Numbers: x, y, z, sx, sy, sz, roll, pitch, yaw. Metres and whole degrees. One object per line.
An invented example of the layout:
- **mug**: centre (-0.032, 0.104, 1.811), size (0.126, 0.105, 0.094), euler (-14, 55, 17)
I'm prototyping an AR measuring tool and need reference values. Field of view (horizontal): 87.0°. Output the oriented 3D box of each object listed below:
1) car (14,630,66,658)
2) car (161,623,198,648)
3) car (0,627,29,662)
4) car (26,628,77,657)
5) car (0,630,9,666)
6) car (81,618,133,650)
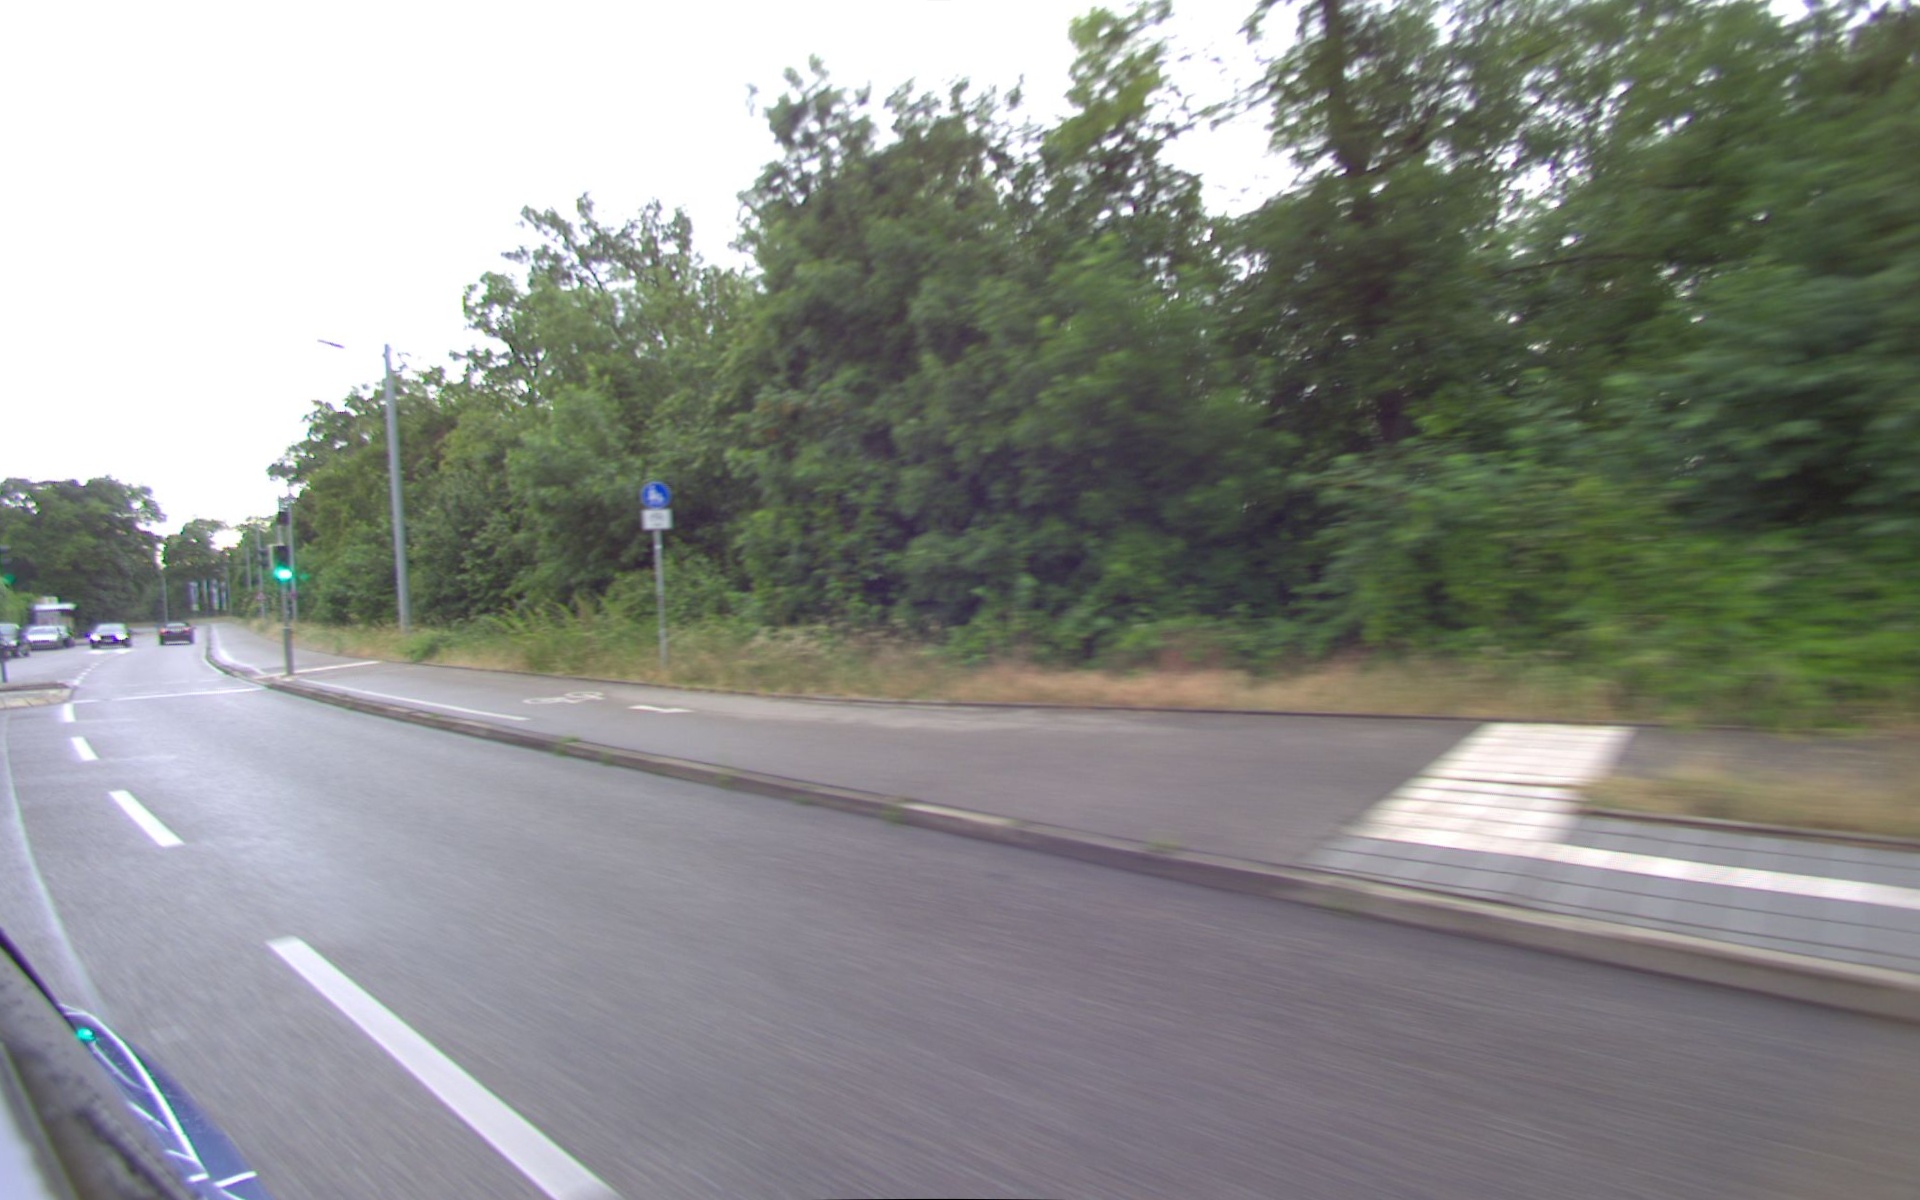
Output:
- **car**: centre (-54.960, 2.600, 60.513), size (1.789, 1.408, 4.113), euler (-2, 1, -35)
- **car**: centre (-50.189, 2.272, 65.146), size (1.720, 1.471, 4.424), euler (-2, 0, -36)
- **car**: centre (-45.376, 2.115, 47.692), size (1.707, 1.579, 4.532), euler (-1, -1, -36)
- **car**: centre (-57.834, 2.675, 64.478), size (1.805, 1.559, 4.641), euler (-2, 1, -35)
- **car**: centre (-41.758, 2.102, 42.759), size (1.770, 1.498, 4.505), euler (-2, 1, -37)
- **car**: centre (-50.964, 2.005, 60.534), size (1.967, 1.737, 4.010), euler (-1, 0, -35)
